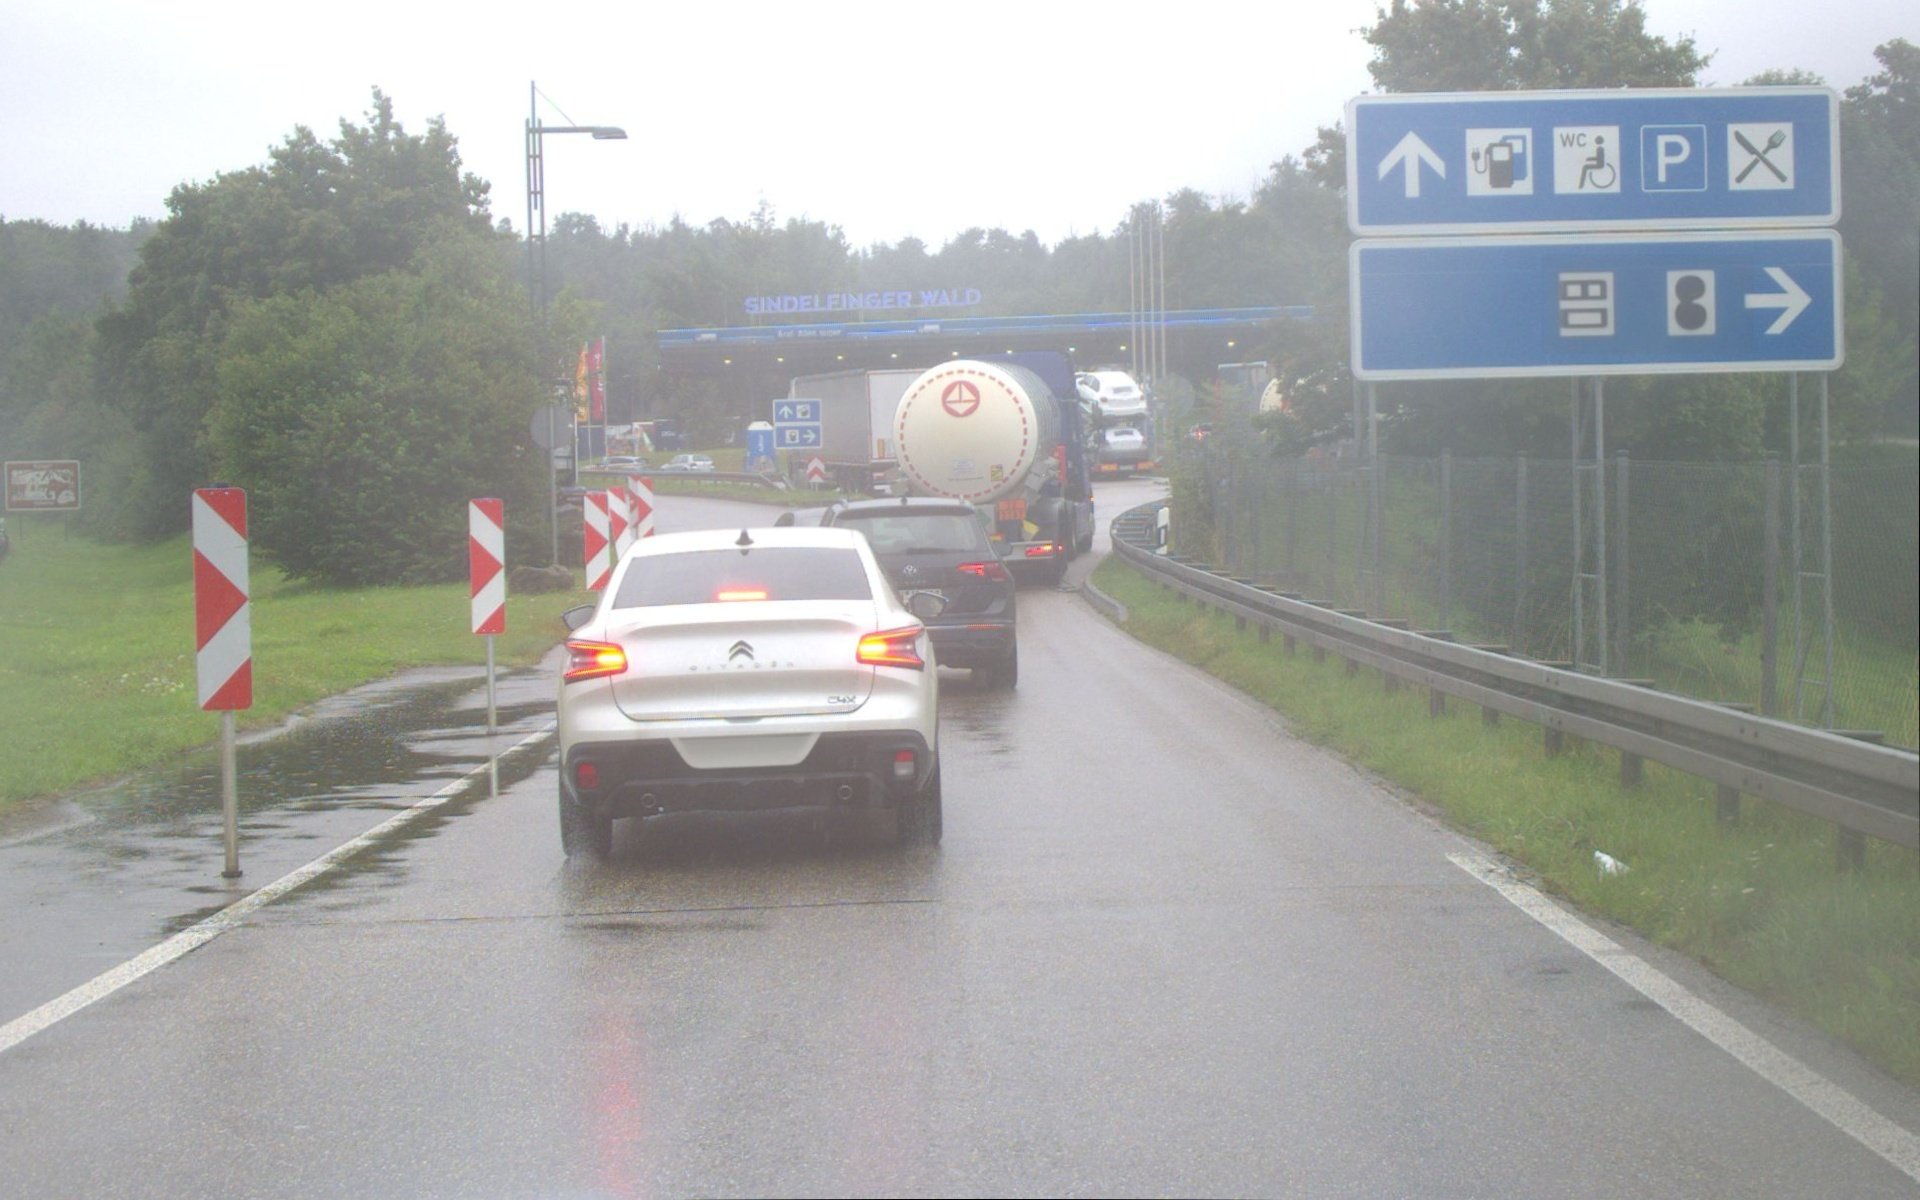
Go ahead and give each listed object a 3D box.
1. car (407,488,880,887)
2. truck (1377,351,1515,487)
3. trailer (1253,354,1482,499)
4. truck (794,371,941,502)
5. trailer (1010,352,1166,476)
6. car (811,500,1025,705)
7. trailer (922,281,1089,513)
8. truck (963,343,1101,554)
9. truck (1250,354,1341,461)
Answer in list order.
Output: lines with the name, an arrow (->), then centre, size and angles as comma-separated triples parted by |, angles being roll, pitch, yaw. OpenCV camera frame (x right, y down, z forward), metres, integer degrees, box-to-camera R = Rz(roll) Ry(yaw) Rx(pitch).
car -> -1.436, 0.320, 16.754 | 1.993, 1.673, 4.001 | -1, 2, -2
truck -> 13.157, -4.915, 92.834 | 2.149, 3.500, 4.640 | 0, 3, 28
trailer -> 10.559, -4.523, 87.913 | 2.134, 3.428, 10.239 | -1, 3, 28
truck -> -3.084, -5.252, 110.000 | 2.370, 3.860, 12.460 | -3, 3, -12
trailer -> 4.435, -6.634, 122.322 | 3.215, 4.174, 11.534 | -2, 3, -10
car -> -0.369, -0.022, 30.001 | 1.742, 1.661, 4.000 | 0, 1, -1
trailer -> 0.838, -3.148, 53.792 | 1.980, 3.213, 10.322 | -1, 3, 4
truck -> 1.315, -2.688, 60.511 | 2.053, 3.518, 4.746 | -1, 3, 5
truck -> 12.421, -7.150, 127.562 | 2.425, 3.792, 4.002 | -3, 4, -7
